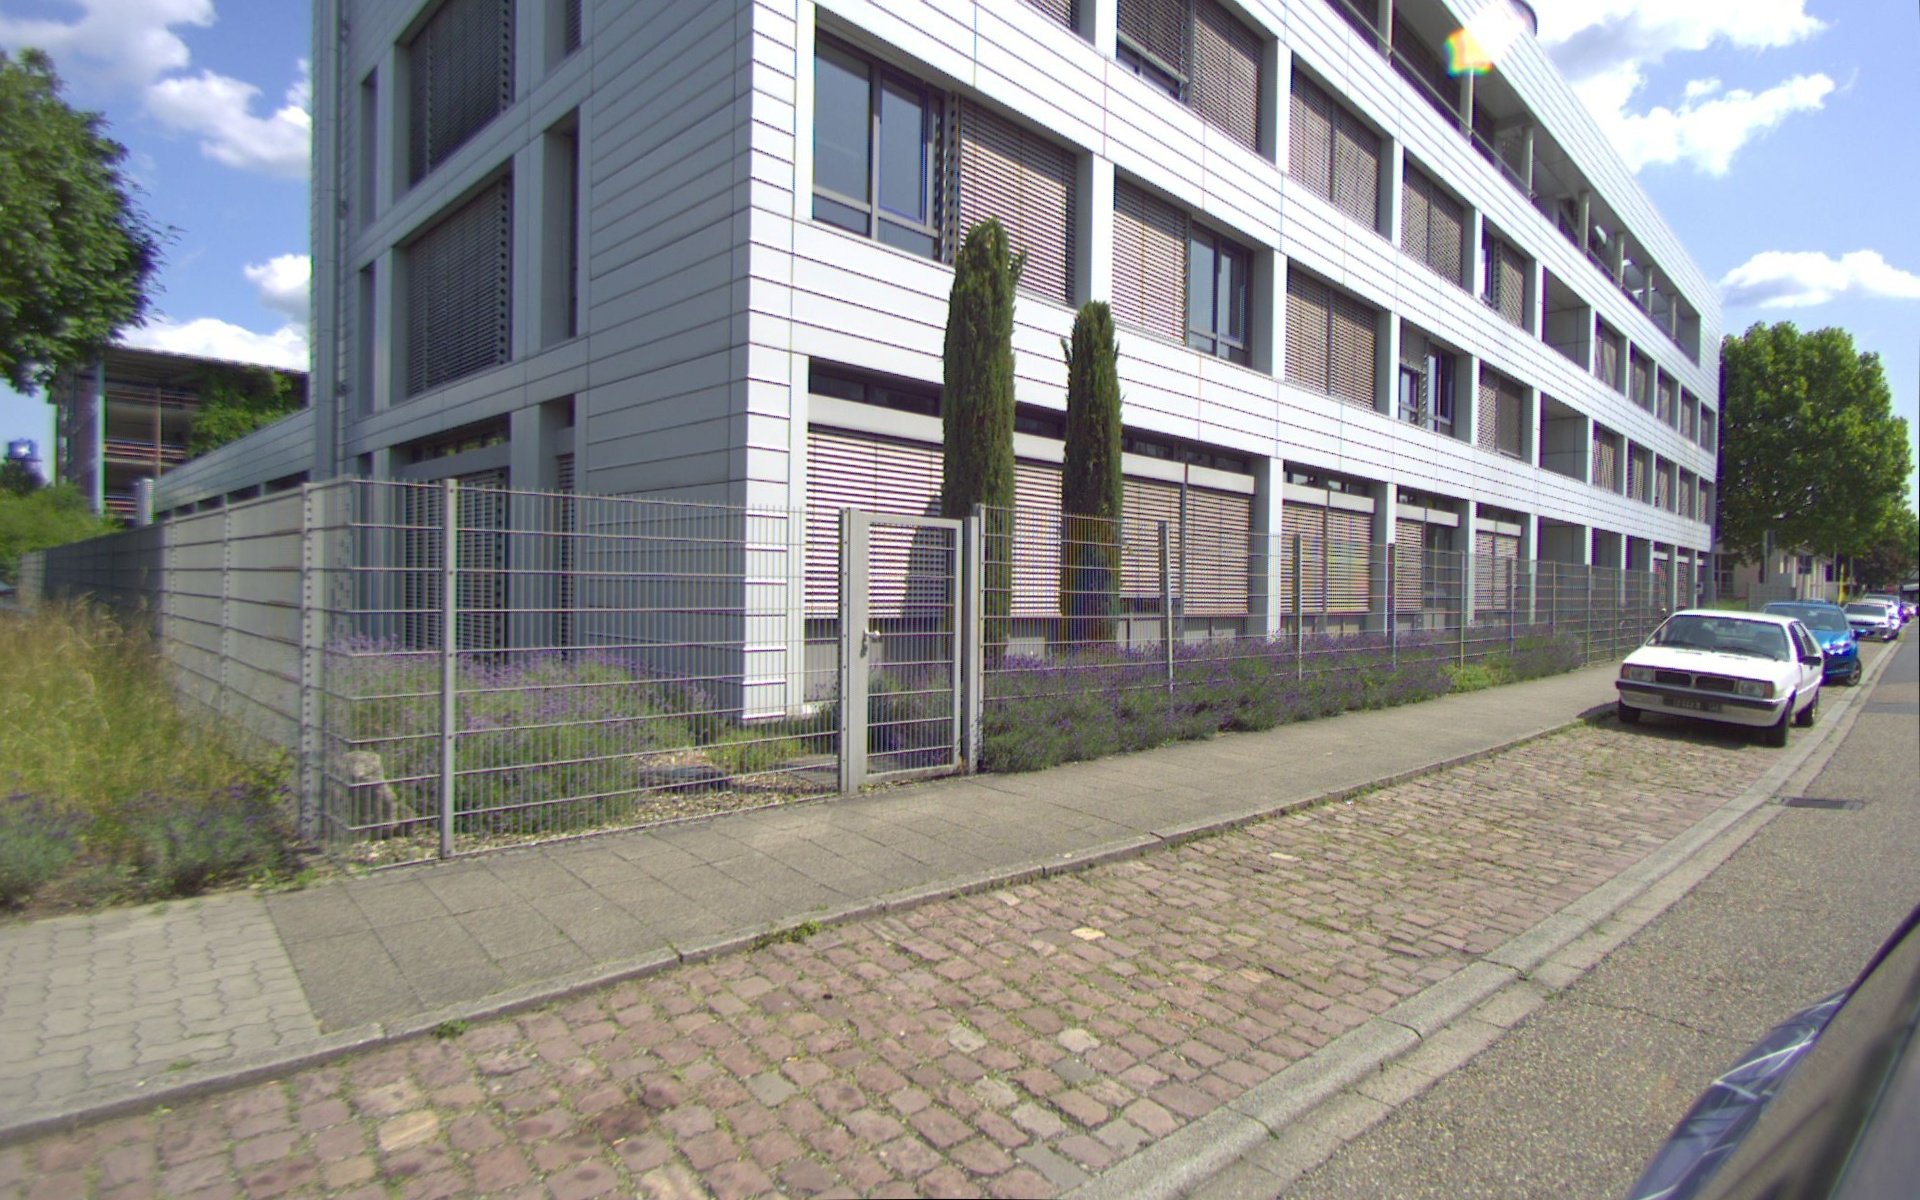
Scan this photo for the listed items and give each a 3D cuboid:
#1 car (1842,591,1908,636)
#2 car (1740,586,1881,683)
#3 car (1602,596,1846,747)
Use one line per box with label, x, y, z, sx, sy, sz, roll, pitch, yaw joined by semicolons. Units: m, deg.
car;34.954;0.475;38.617;1.657;1.533;3.683;6;4;44
car;16.375;0.580;19.475;1.808;1.522;3.940;6;4;41
car;9.331;0.715;12.236;4.090;1.384;1.675;0;5;-44
